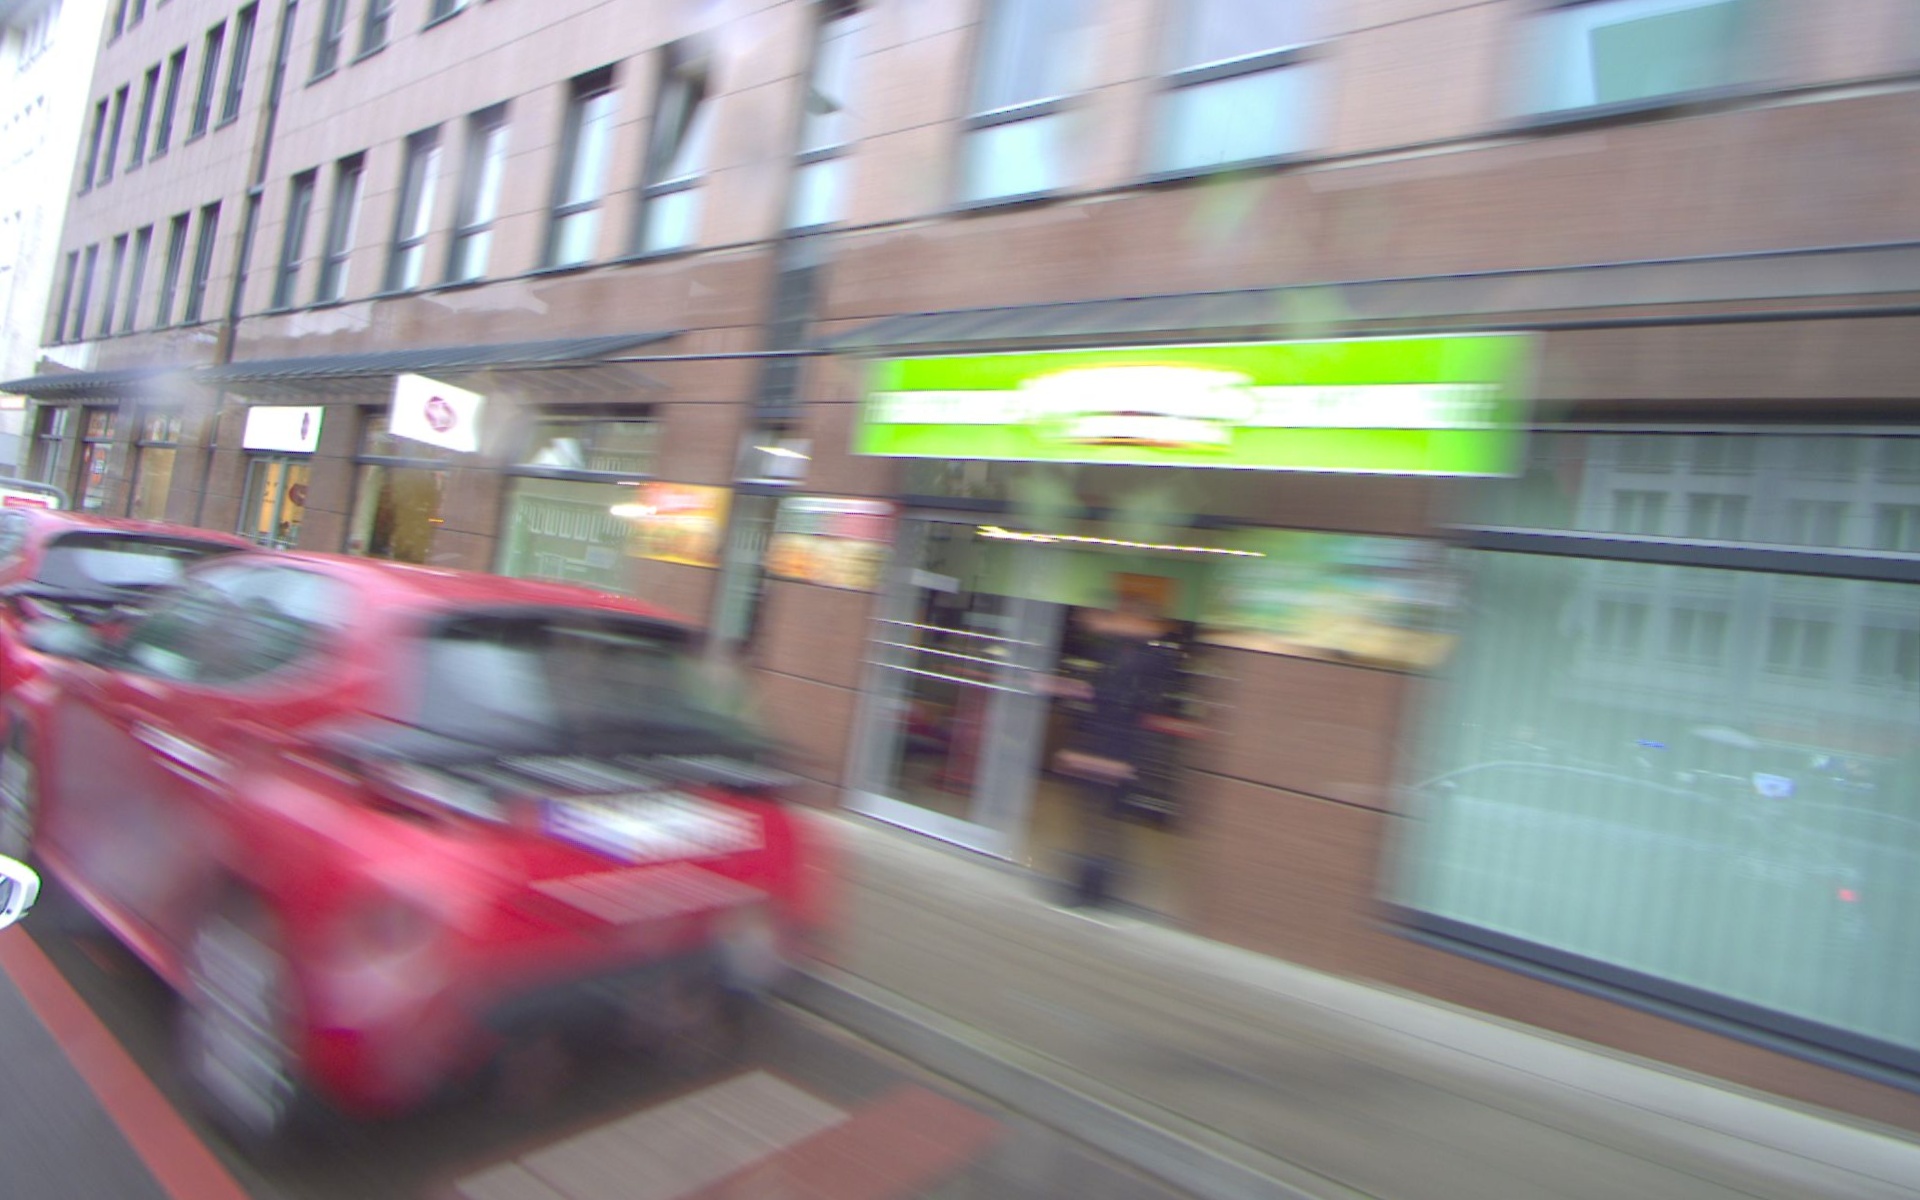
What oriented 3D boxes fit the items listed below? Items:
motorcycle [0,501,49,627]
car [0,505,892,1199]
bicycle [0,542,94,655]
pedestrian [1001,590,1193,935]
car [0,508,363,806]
[{"bbox_3d":[-11.890,-0.550,11.417,2.073,1.423,0.791,9,-2,-36],"label":"motorcycle"},{"bbox_3d":[-2.315,0.559,3.921,3.809,1.497,1.698,6,-1,38],"label":"car"},{"bbox_3d":[-9.649,-0.078,9.720,0.455,1.042,1.789,6,-3,35],"label":"bicycle"},{"bbox_3d":[0.748,0.842,5.442,0.616,1.678,0.602,6,-2,37],"label":"pedestrian"},{"bbox_3d":[-5.849,0.204,6.751,3.807,1.479,1.699,6,-1,36],"label":"car"}]
